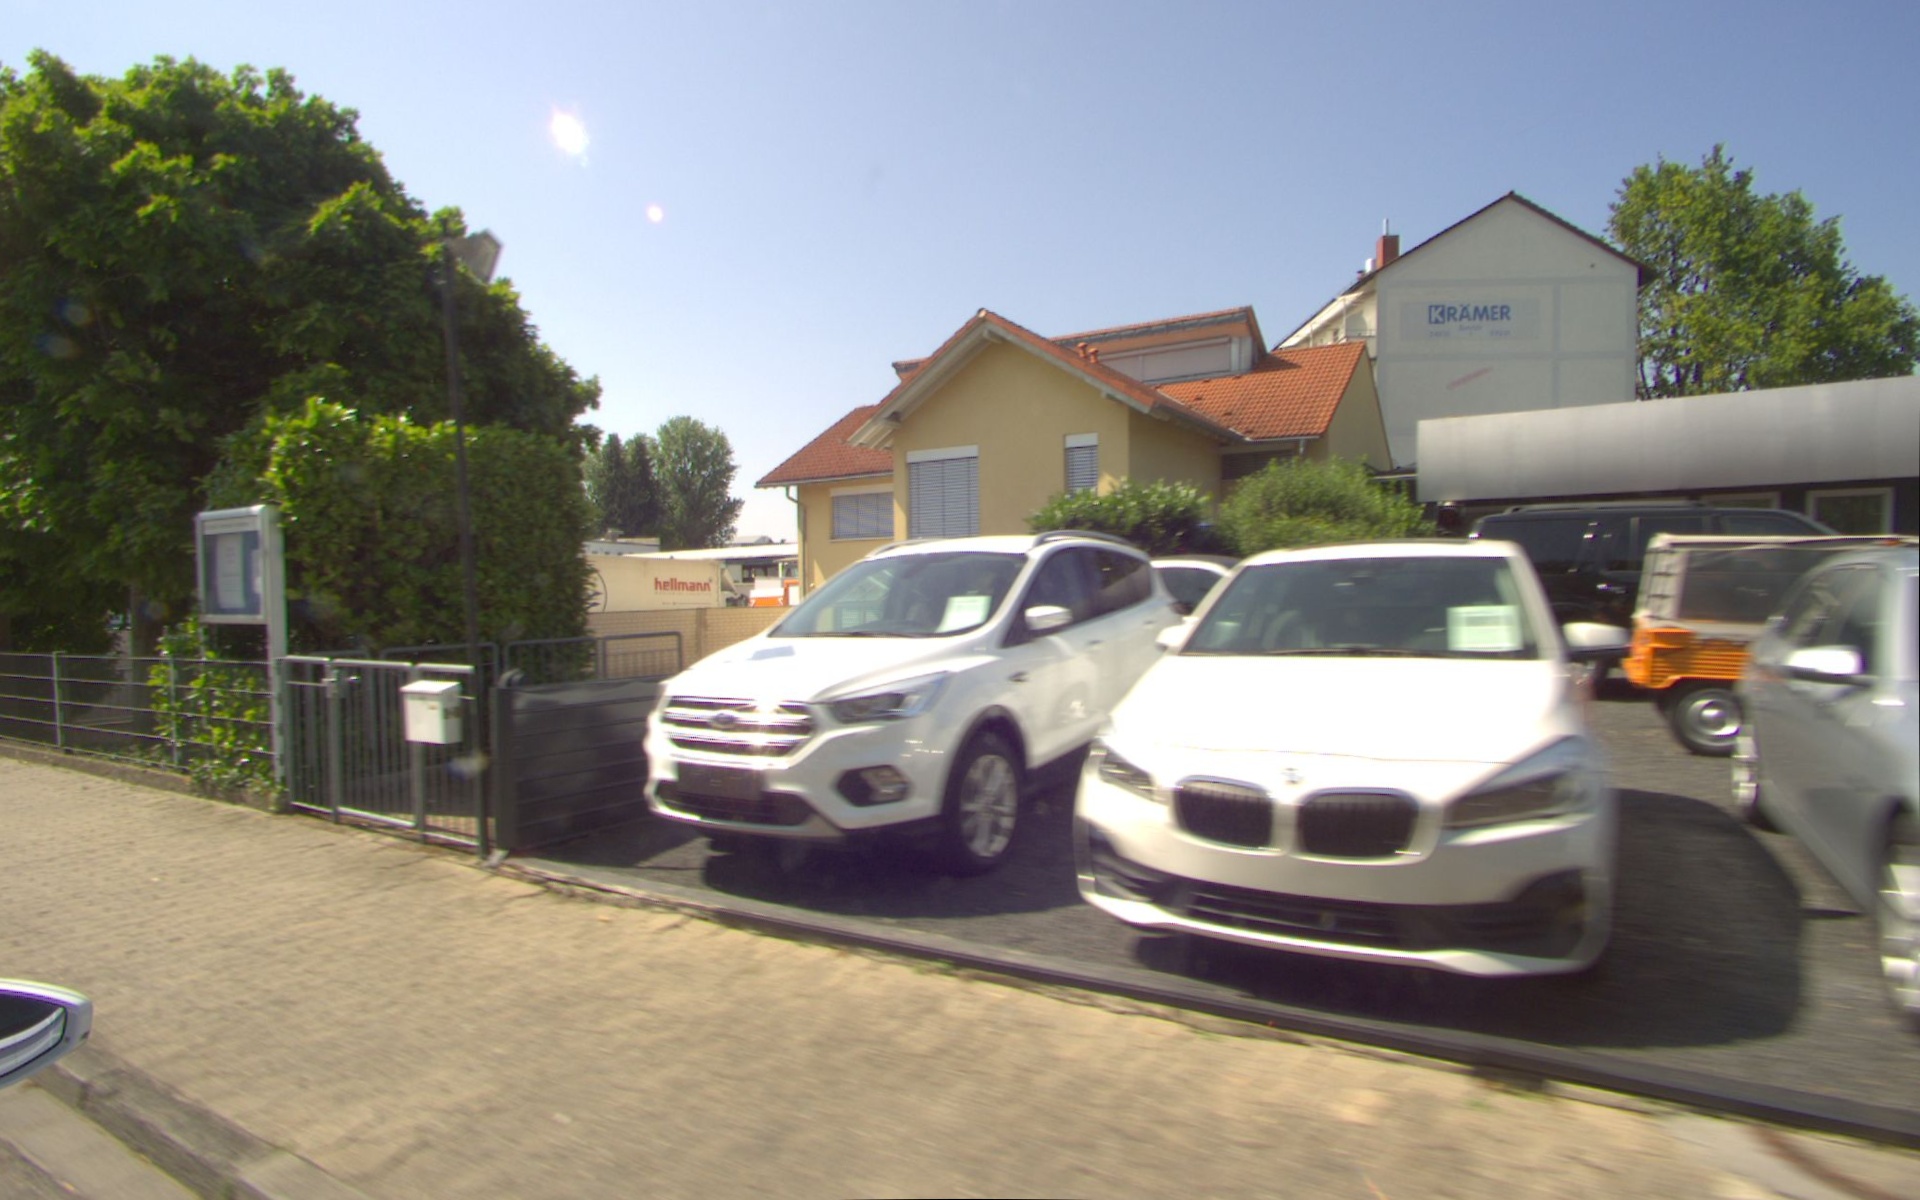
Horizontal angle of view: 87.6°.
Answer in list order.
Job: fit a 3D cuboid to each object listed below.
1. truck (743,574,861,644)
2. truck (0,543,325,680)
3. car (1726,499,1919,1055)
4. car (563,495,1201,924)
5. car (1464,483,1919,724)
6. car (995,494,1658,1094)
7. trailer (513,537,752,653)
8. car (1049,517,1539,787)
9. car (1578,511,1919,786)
[{"bbox_3d":[-8.151,0.388,52.201,2.887,3.408,5.664,0,1,35],"label":"truck"},{"bbox_3d":[-23.282,0.450,29.366,2.491,3.466,7.507,0,-2,32],"label":"truck"},{"bbox_3d":[4.191,0.443,3.541,1.870,1.517,4.394,-1,1,31],"label":"car"},{"bbox_3d":[-0.020,0.410,6.266,1.816,1.675,4.396,-1,1,30],"label":"car"},{"bbox_3d":[7.665,0.028,9.804,4.831,2.041,1.991,-1,1,28],"label":"car"},{"bbox_3d":[2.039,0.422,4.941,1.869,1.548,4.394,-2,2,30],"label":"car"},{"bbox_3d":[-12.139,-0.230,37.989,3.029,3.914,8.301,-1,1,37],"label":"trailer"},{"bbox_3d":[2.916,0.427,8.843,3.735,1.884,1.990,-2,-1,32],"label":"car"},{"bbox_3d":[6.754,0.288,7.139,3.942,1.751,1.989,-1,1,32],"label":"car"}]
